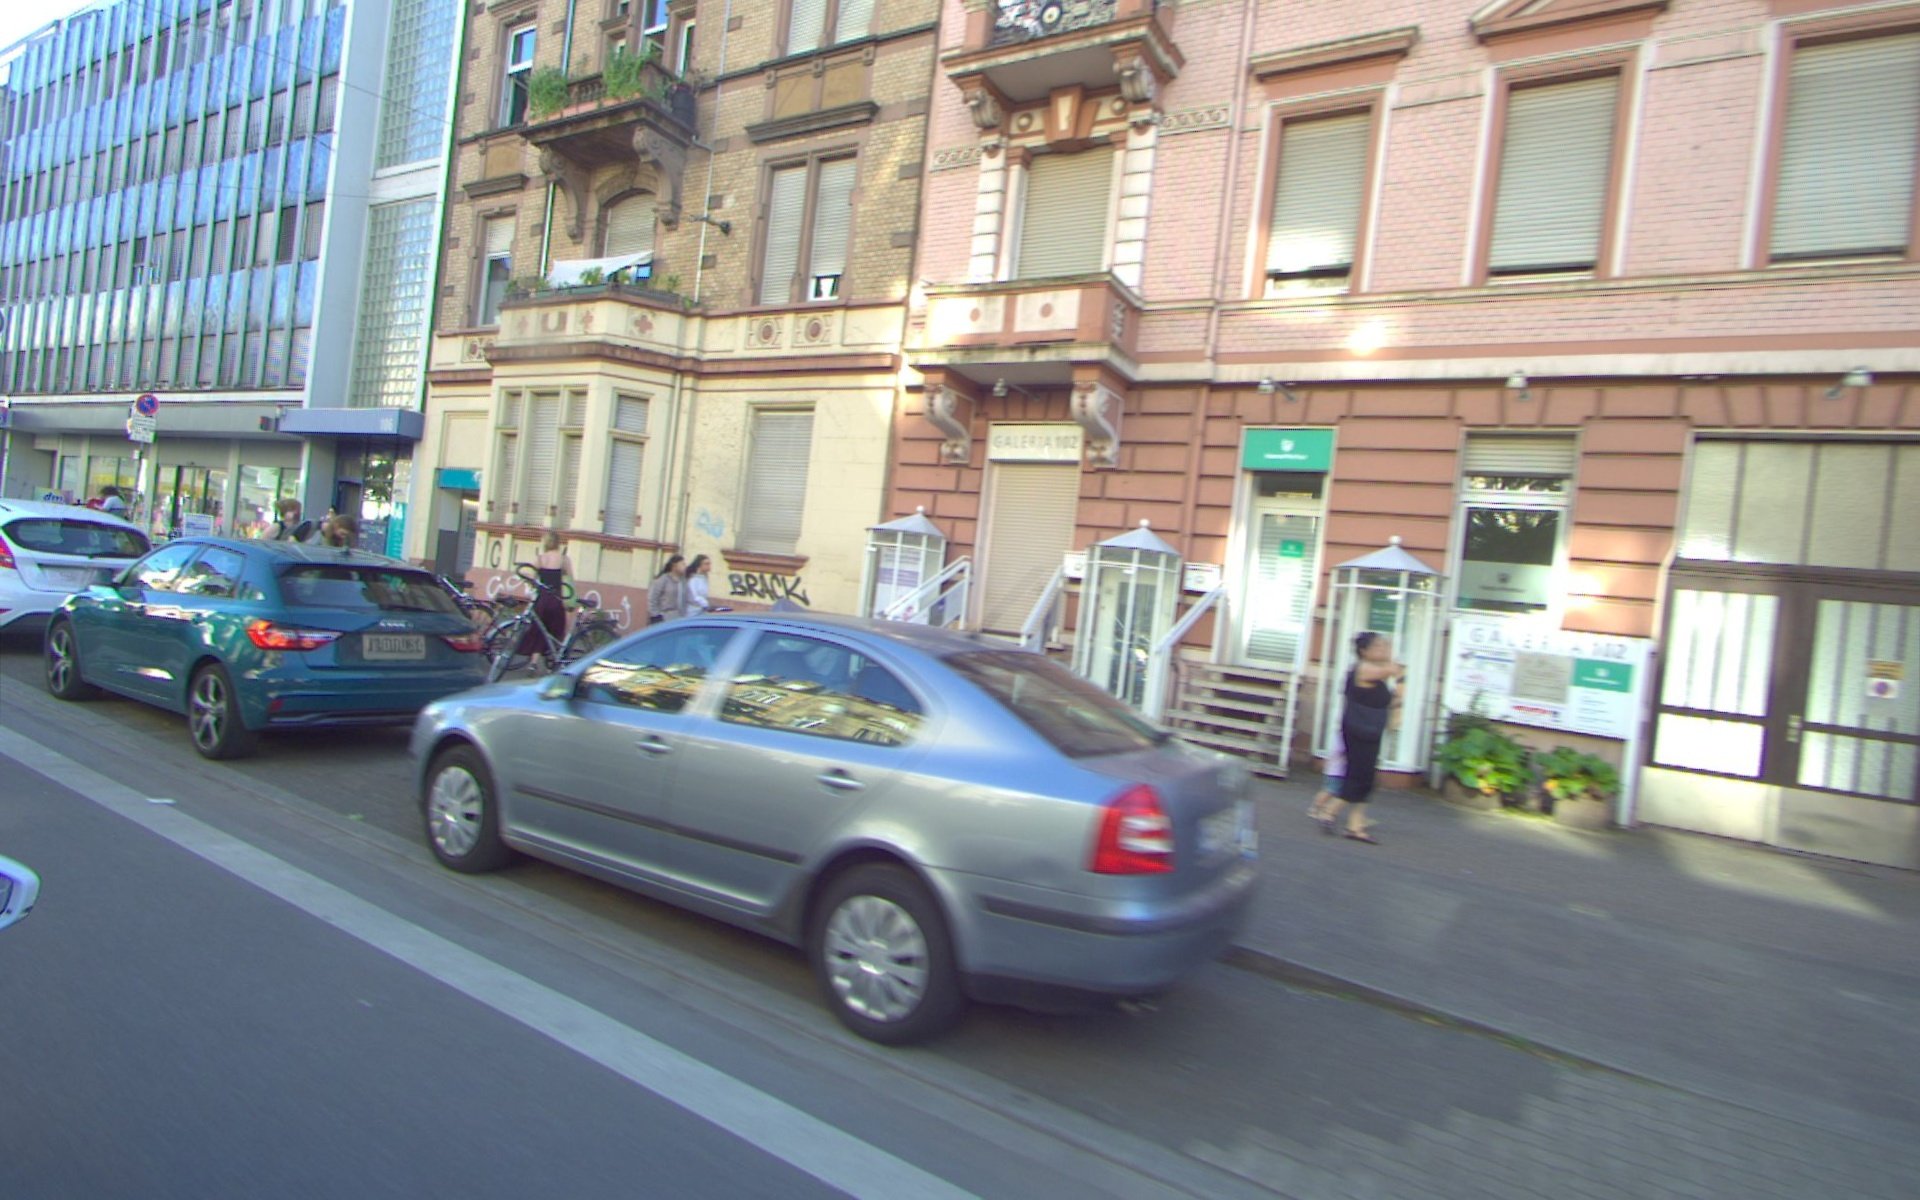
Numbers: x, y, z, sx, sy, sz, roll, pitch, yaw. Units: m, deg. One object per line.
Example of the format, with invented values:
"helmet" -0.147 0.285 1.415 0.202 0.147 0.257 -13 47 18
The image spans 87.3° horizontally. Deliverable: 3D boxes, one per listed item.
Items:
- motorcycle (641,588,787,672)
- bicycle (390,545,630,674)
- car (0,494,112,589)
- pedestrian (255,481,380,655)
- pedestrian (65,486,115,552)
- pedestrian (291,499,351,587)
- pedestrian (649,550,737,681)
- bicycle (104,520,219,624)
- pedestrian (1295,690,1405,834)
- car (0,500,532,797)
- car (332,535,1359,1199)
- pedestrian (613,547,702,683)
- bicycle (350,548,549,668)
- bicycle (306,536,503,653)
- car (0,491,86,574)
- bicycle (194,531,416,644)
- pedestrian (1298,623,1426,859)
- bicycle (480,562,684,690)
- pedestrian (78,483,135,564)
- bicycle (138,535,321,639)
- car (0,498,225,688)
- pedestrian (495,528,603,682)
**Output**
"motorcycle" -3.767 0.426 15.277 2.477 1.005 0.506 6 3 32
"bicycle" -5.136 0.166 11.730 0.653 1.235 2.543 7 -2 31
"car" -17.350 -1.154 17.277 1.507 1.525 4.457 7 -2 2
"pedestrian" -6.666 -0.322 10.451 0.643 1.691 0.713 7 -1 31
"pedestrian" -22.739 -2.114 26.292 0.667 1.606 0.694 7 -1 32
"pedestrian" -14.316 -1.273 22.549 0.715 1.827 0.720 7 -1 32
"pedestrian" -3.552 0.217 13.388 0.643 1.626 0.713 7 -1 31
"bicycle" -10.471 -0.365 13.191 1.218 1.199 0.694 6 -1 31
"pedestrian" 3.199 1.295 8.231 0.643 0.994 0.712 6 3 31
"car" -5.444 0.269 7.793 3.934 1.615 1.876 6 -1 32
"car" -0.772 0.760 4.863 4.641 1.615 1.876 6 -2 32
"pedestrian" -3.817 0.187 12.716 0.643 1.628 0.712 7 2 31
"bicycle" -6.156 0.138 12.276 0.653 1.236 2.023 7 -2 31
"bicycle" -6.974 -0.029 12.756 0.653 1.236 2.023 7 -2 31
"car" -19.667 -1.495 19.563 1.804 1.504 3.789 7 -2 2
"bicycle" -8.797 -0.127 13.645 0.653 1.236 2.360 6 -2 35
"pedestrian" 3.061 1.041 7.636 0.643 1.626 0.713 7 -1 31
"bicycle" -4.080 0.330 11.060 0.652 1.236 2.060 7 -1 30
"pedestrian" -20.115 -1.796 23.721 0.667 1.777 0.694 7 -1 32
"bicycle" -10.590 -0.166 14.669 2.008 1.236 0.657 8 -1 -36
"car" -9.623 -0.183 10.361 3.934 1.615 1.876 6 -1 32
"pedestrian" -4.633 0.067 11.367 0.643 1.626 0.713 7 -1 31
